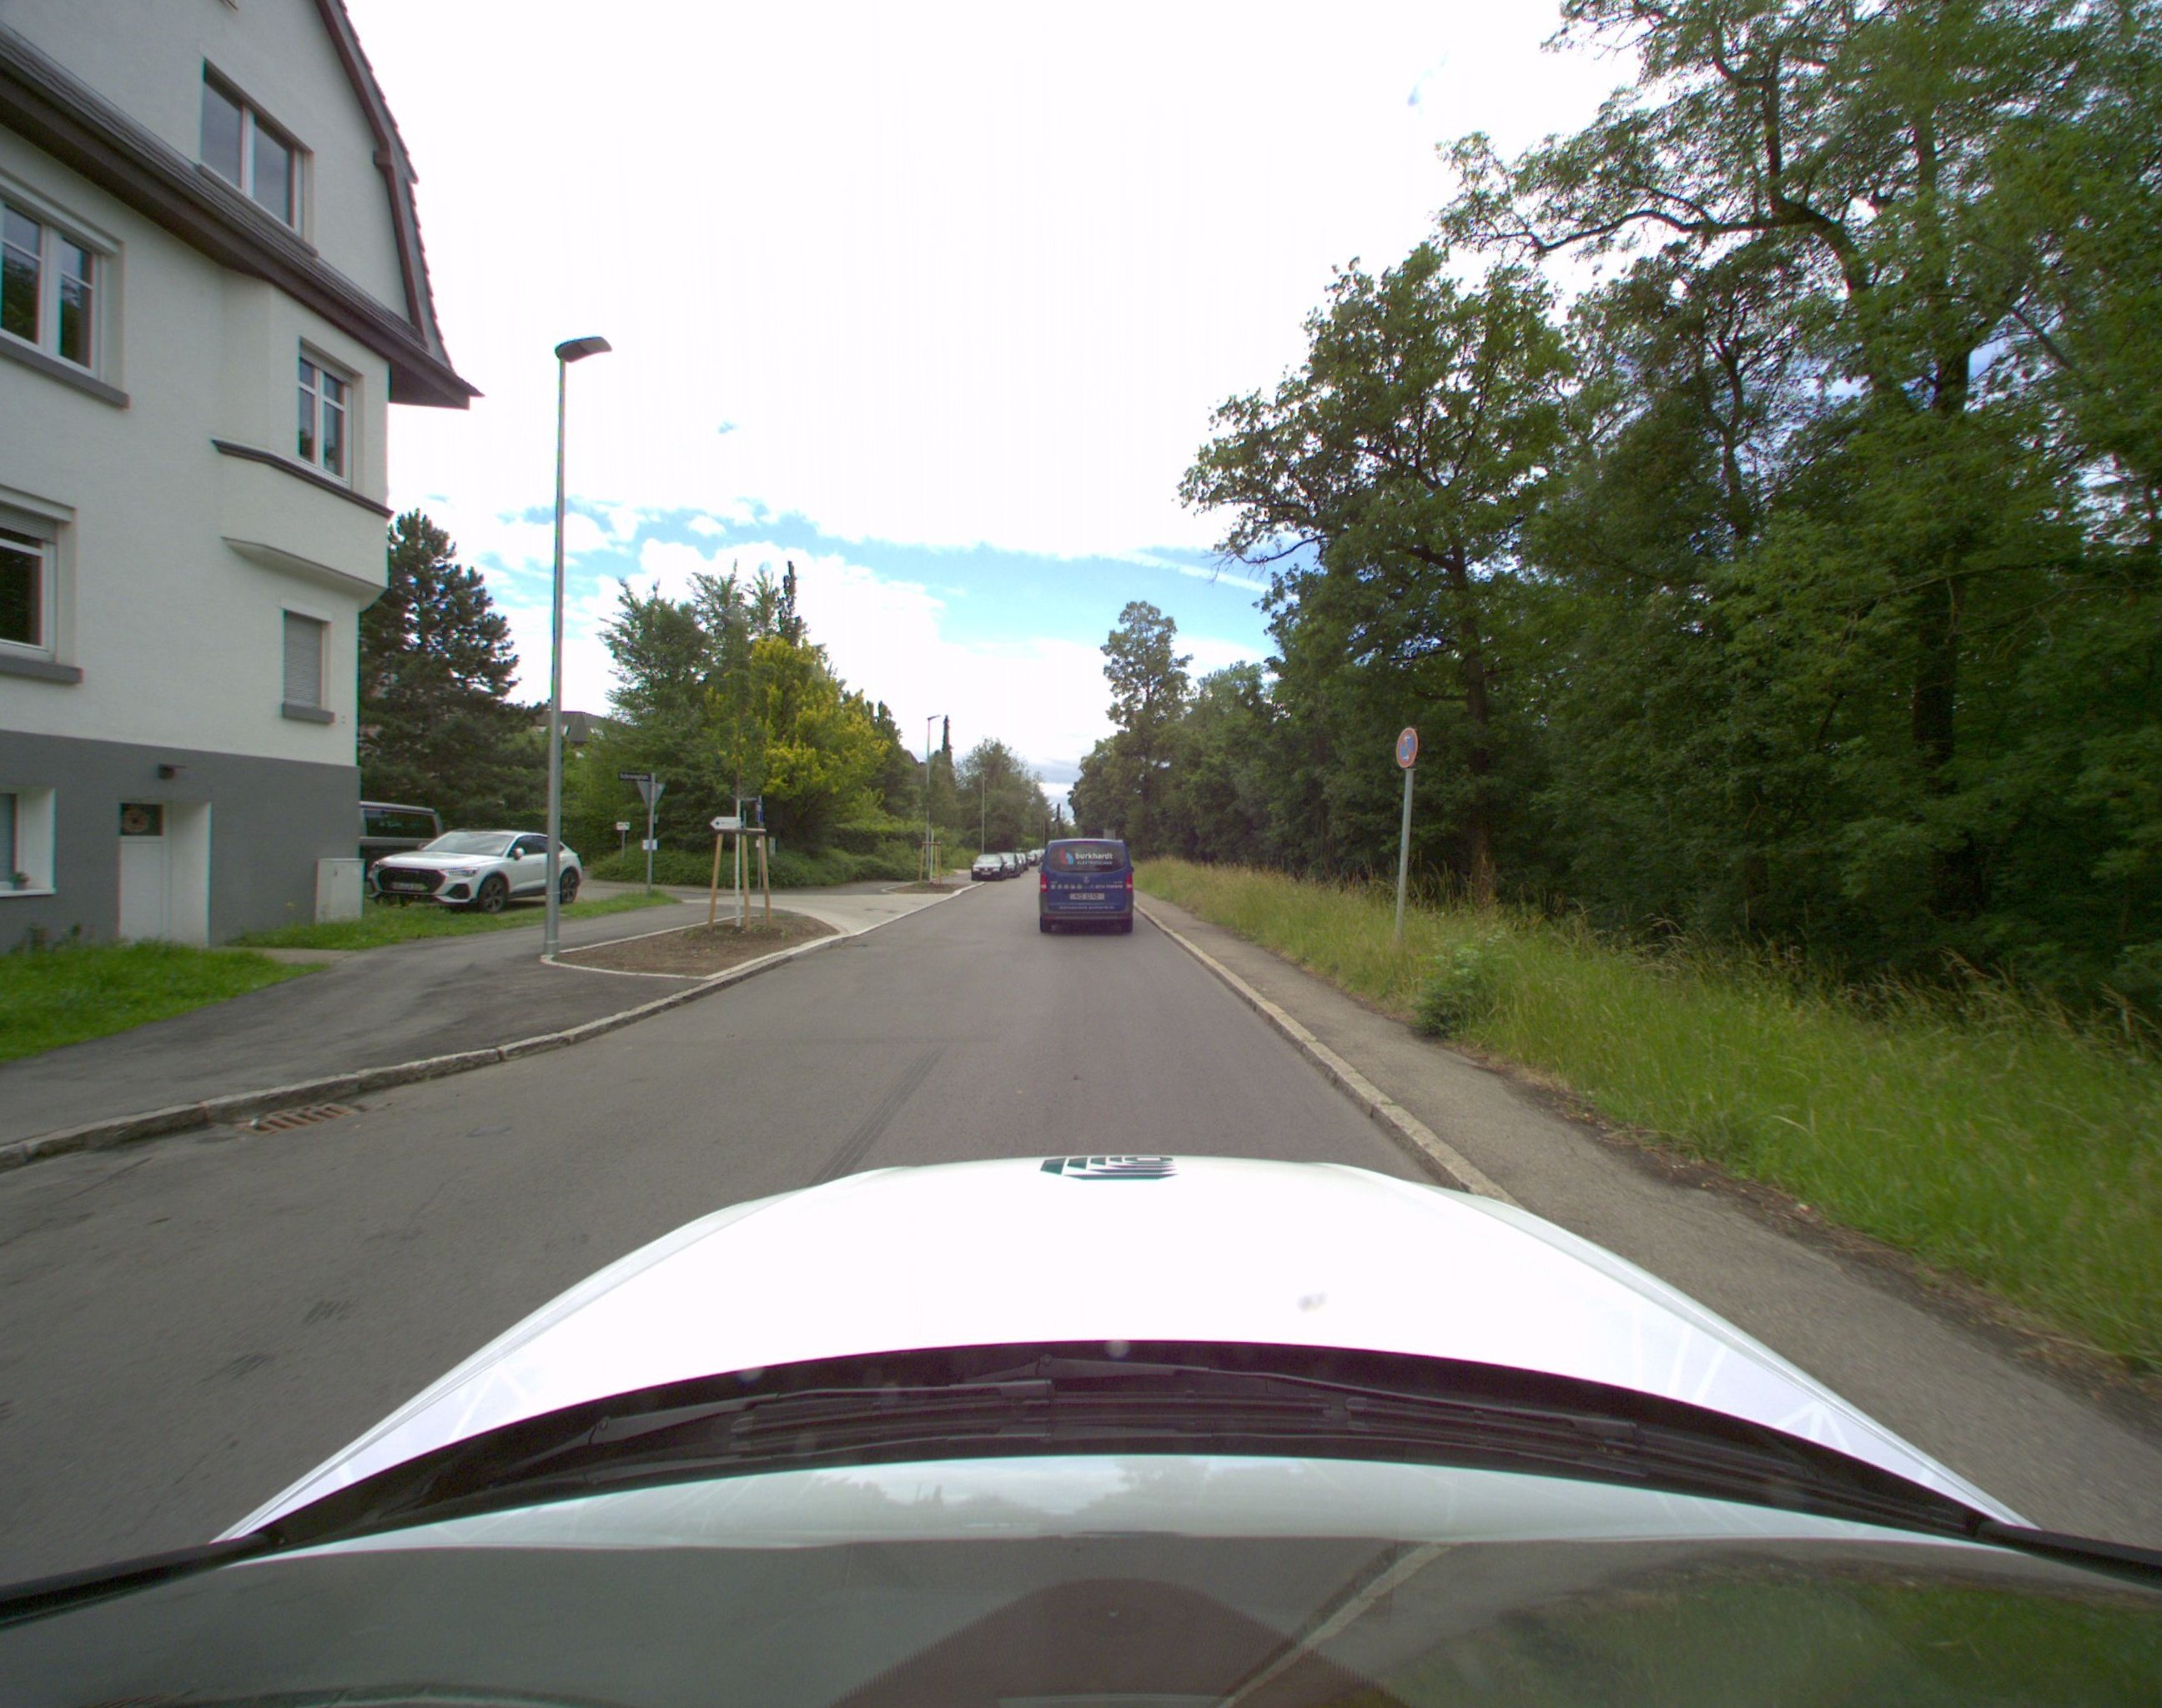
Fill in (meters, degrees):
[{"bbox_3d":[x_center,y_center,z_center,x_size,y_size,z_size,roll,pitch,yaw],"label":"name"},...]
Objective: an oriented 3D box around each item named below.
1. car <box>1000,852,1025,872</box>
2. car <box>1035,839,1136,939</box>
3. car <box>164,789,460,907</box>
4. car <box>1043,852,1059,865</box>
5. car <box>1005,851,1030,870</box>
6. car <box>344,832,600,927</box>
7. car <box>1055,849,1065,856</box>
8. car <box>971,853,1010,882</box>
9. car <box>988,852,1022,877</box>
[{"bbox_3d":[-5.019,0.560,60.355,1.620,1.432,4.348,0,0,-2],"label":"car"},{"bbox_3d":[0.026,0.638,17.477,1.884,1.844,3.997,1,1,-2],"label":"car"},{"bbox_3d":[-15.874,-0.072,17.285,1.902,2.051,4.754,3,-1,-5],"label":"car"},{"bbox_3d":[-3.337,0.485,90.701,1.776,1.426,4.486,1,0,-2],"label":"car"},{"bbox_3d":[-5.157,0.488,66.840,1.773,1.432,5.101,1,0,-2],"label":"car"},{"bbox_3d":[-11.870,0.476,16.380,1.902,1.533,4.588,3,-1,-5],"label":"car"},{"bbox_3d":[-4.591,-0.334,177.208,1.829,1.631,4.303,2,0,3],"label":"car"},{"bbox_3d":[-4.986,0.722,45.272,1.677,1.482,4.691,0,0,-1],"label":"car"},{"bbox_3d":[-4.644,0.609,50.250,1.701,1.482,4.495,0,0,0],"label":"car"}]
